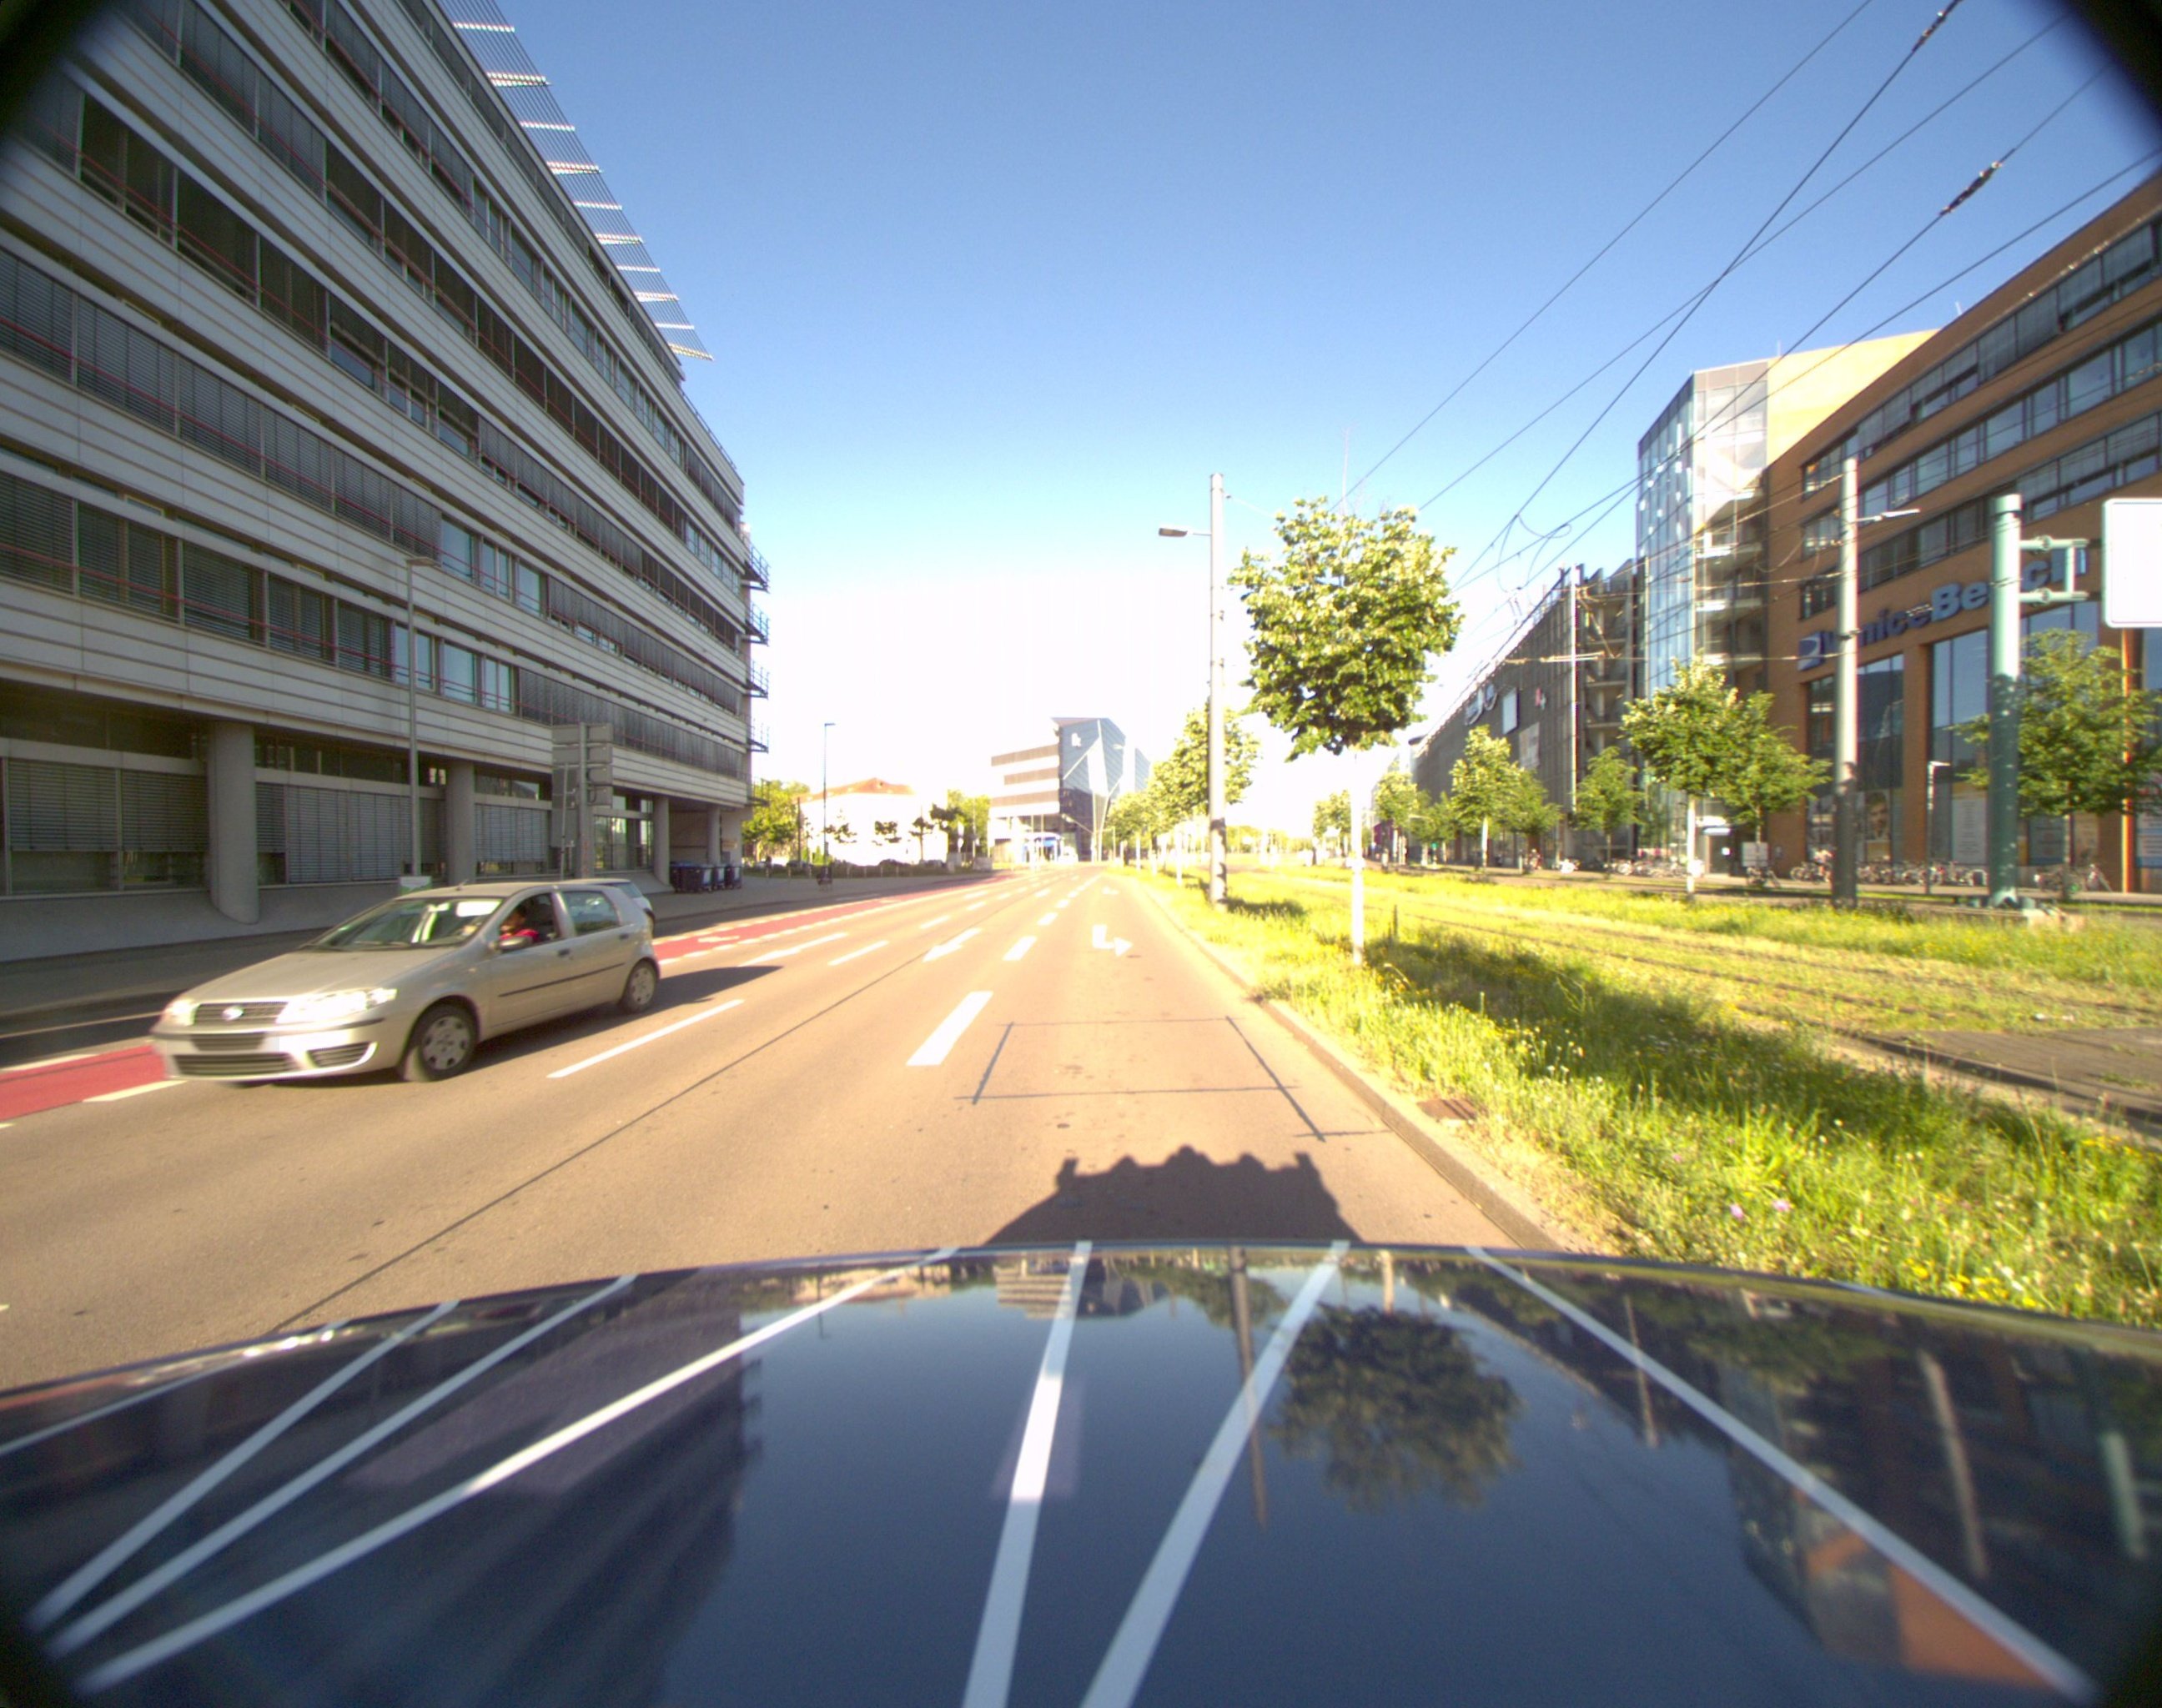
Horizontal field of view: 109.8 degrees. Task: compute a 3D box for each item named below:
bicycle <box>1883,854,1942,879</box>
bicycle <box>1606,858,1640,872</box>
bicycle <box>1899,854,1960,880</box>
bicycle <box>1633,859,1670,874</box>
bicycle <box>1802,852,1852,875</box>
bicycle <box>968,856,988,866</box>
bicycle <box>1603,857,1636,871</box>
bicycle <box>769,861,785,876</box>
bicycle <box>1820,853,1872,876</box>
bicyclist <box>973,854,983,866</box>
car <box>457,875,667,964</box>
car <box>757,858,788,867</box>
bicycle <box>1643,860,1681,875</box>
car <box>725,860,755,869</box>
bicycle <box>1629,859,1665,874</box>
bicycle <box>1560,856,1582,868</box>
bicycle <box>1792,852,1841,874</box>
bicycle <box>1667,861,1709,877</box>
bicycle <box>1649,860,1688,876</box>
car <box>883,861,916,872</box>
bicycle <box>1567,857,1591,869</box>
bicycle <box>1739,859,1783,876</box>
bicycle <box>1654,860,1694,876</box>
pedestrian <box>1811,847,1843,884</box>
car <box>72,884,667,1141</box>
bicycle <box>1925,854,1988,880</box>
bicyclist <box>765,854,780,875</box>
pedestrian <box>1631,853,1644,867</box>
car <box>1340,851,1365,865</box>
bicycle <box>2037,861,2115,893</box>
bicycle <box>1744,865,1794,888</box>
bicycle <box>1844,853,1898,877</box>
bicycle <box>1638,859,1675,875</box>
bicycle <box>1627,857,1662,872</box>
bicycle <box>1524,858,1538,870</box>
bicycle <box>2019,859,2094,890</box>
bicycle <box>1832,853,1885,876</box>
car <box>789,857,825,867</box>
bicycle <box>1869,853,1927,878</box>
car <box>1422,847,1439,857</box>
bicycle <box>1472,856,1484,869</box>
[{"bbox_3d":[35.126,0.515,32.117,1.769,1.043,0.491,-1,1,8],"label":"bicycle"},{"bbox_3d":[36.503,0.718,51.161,1.768,0.921,0.565,-1,1,17],"label":"bicycle"},{"bbox_3d":[35.046,0.524,31.401,1.769,1.043,0.491,-1,1,8],"label":"bicycle"},{"bbox_3d":[35.481,0.787,47.277,1.768,0.921,0.565,-1,1,17],"label":"bicycle"},{"bbox_3d":[35.734,0.457,36.424,1.769,1.043,0.491,-1,1,8],"label":"bicycle"},{"bbox_3d":[-13.286,0.908,98.099,2.368,1.304,0.952,-1,1,13],"label":"bicycle"},{"bbox_3d":[36.710,0.706,51.805,1.768,0.921,0.491,-1,1,17],"label":"bicycle"},{"bbox_3d":[-23.415,1.090,58.576,0.505,1.052,1.702,2,1,2],"label":"bicycle"},{"bbox_3d":[35.631,0.469,35.422,1.769,1.043,0.491,-1,1,8],"label":"bicycle"},{"bbox_3d":[-13.300,0.750,98.114,1.006,1.598,0.880,-1,1,14],"label":"bicyclist"},{"bbox_3d":[-10.345,1.233,15.552,1.439,1.437,4.000,-1,0,2],"label":"car"},{"bbox_3d":[-45.558,1.280,112.196,3.990,1.237,2.003,-1,1,22],"label":"car"},{"bbox_3d":[35.103,0.812,45.931,1.768,0.921,0.565,-1,1,17],"label":"bicycle"},{"bbox_3d":[-51.466,1.577,114.638,3.990,1.368,1.938,-1,1,24],"label":"car"},{"bbox_3d":[35.697,0.774,47.944,1.768,0.921,0.565,-1,1,17],"label":"bicycle"},{"bbox_3d":[37.899,0.643,58.758,1.398,0.921,0.462,-1,1,17],"label":"bicycle"},{"bbox_3d":[35.789,0.450,36.998,1.769,1.043,0.491,-1,1,8],"label":"bicycle"},{"bbox_3d":[34.594,0.853,43.301,1.768,0.921,0.565,-1,1,17],"label":"bicycle"},{"bbox_3d":[34.897,0.826,45.154,1.768,0.921,0.565,-1,1,17],"label":"bicycle"},{"bbox_3d":[-24.923,1.661,104.426,3.991,1.414,2.003,-1,1,20],"label":"car"},{"bbox_3d":[37.570,0.667,57.328,1.398,0.921,0.462,-1,1,17],"label":"bicycle"},{"bbox_3d":[37.405,0.752,41.812,1.768,0.921,0.565,-1,1,17],"label":"bicycle"},{"bbox_3d":[34.670,0.840,44.418,1.768,0.921,0.565,-1,1,17],"label":"bicycle"},{"bbox_3d":[33.415,0.515,34.049,0.746,1.659,0.676,-1,1,7],"label":"pedestrian"},{"bbox_3d":[-5.579,1.092,6.744,1.620,1.421,3.767,-2,1,2],"label":"car"},{"bbox_3d":[35.391,0.518,30.736,1.769,1.043,0.491,-1,1,8],"label":"bicycle"},{"bbox_3d":[-23.660,0.804,58.349,0.685,1.609,0.991,-1,1,2],"label":"bicyclist"},{"bbox_3d":[40.743,0.428,55.627,0.629,1.048,0.450,-1,1,13],"label":"pedestrian"},{"bbox_3d":[26.030,0.377,72.893,1.808,1.320,4.409,0,1,13],"label":"car"},{"bbox_3d":[34.033,0.790,26.005,1.769,1.043,0.491,-1,1,8],"label":"bicycle"},{"bbox_3d":[27.967,0.918,30.923,0.464,0.863,1.771,-1,1,1],"label":"bicycle"},{"bbox_3d":[35.398,0.489,34.051,1.769,1.043,0.491,-1,1,8],"label":"bicycle"},{"bbox_3d":[35.282,0.800,46.599,1.768,0.921,0.565,-1,1,17],"label":"bicycle"},{"bbox_3d":[36.011,0.680,48.562,1.768,0.921,0.491,-1,1,17],"label":"bicycle"},{"bbox_3d":[32.666,0.726,55.203,0.386,0.863,1.773,0,1,13],"label":"bicycle"},{"bbox_3d":[34.103,0.717,26.584,1.769,1.043,0.491,-1,1,8],"label":"bicycle"},{"bbox_3d":[35.532,0.478,34.739,1.769,1.043,0.491,-1,1,8],"label":"bicycle"},{"bbox_3d":[-39.668,1.150,109.996,4.516,1.414,2.003,-1,1,19],"label":"car"},{"bbox_3d":[35.235,0.505,32.777,1.769,1.043,0.491,-1,1,8],"label":"bicycle"},{"bbox_3d":[54.261,-0.364,118.119,1.582,1.521,3.754,-2,1,13],"label":"car"},{"bbox_3d":[31.589,0.670,60.483,0.386,0.918,1.773,0,1,13],"label":"bicycle"}]
